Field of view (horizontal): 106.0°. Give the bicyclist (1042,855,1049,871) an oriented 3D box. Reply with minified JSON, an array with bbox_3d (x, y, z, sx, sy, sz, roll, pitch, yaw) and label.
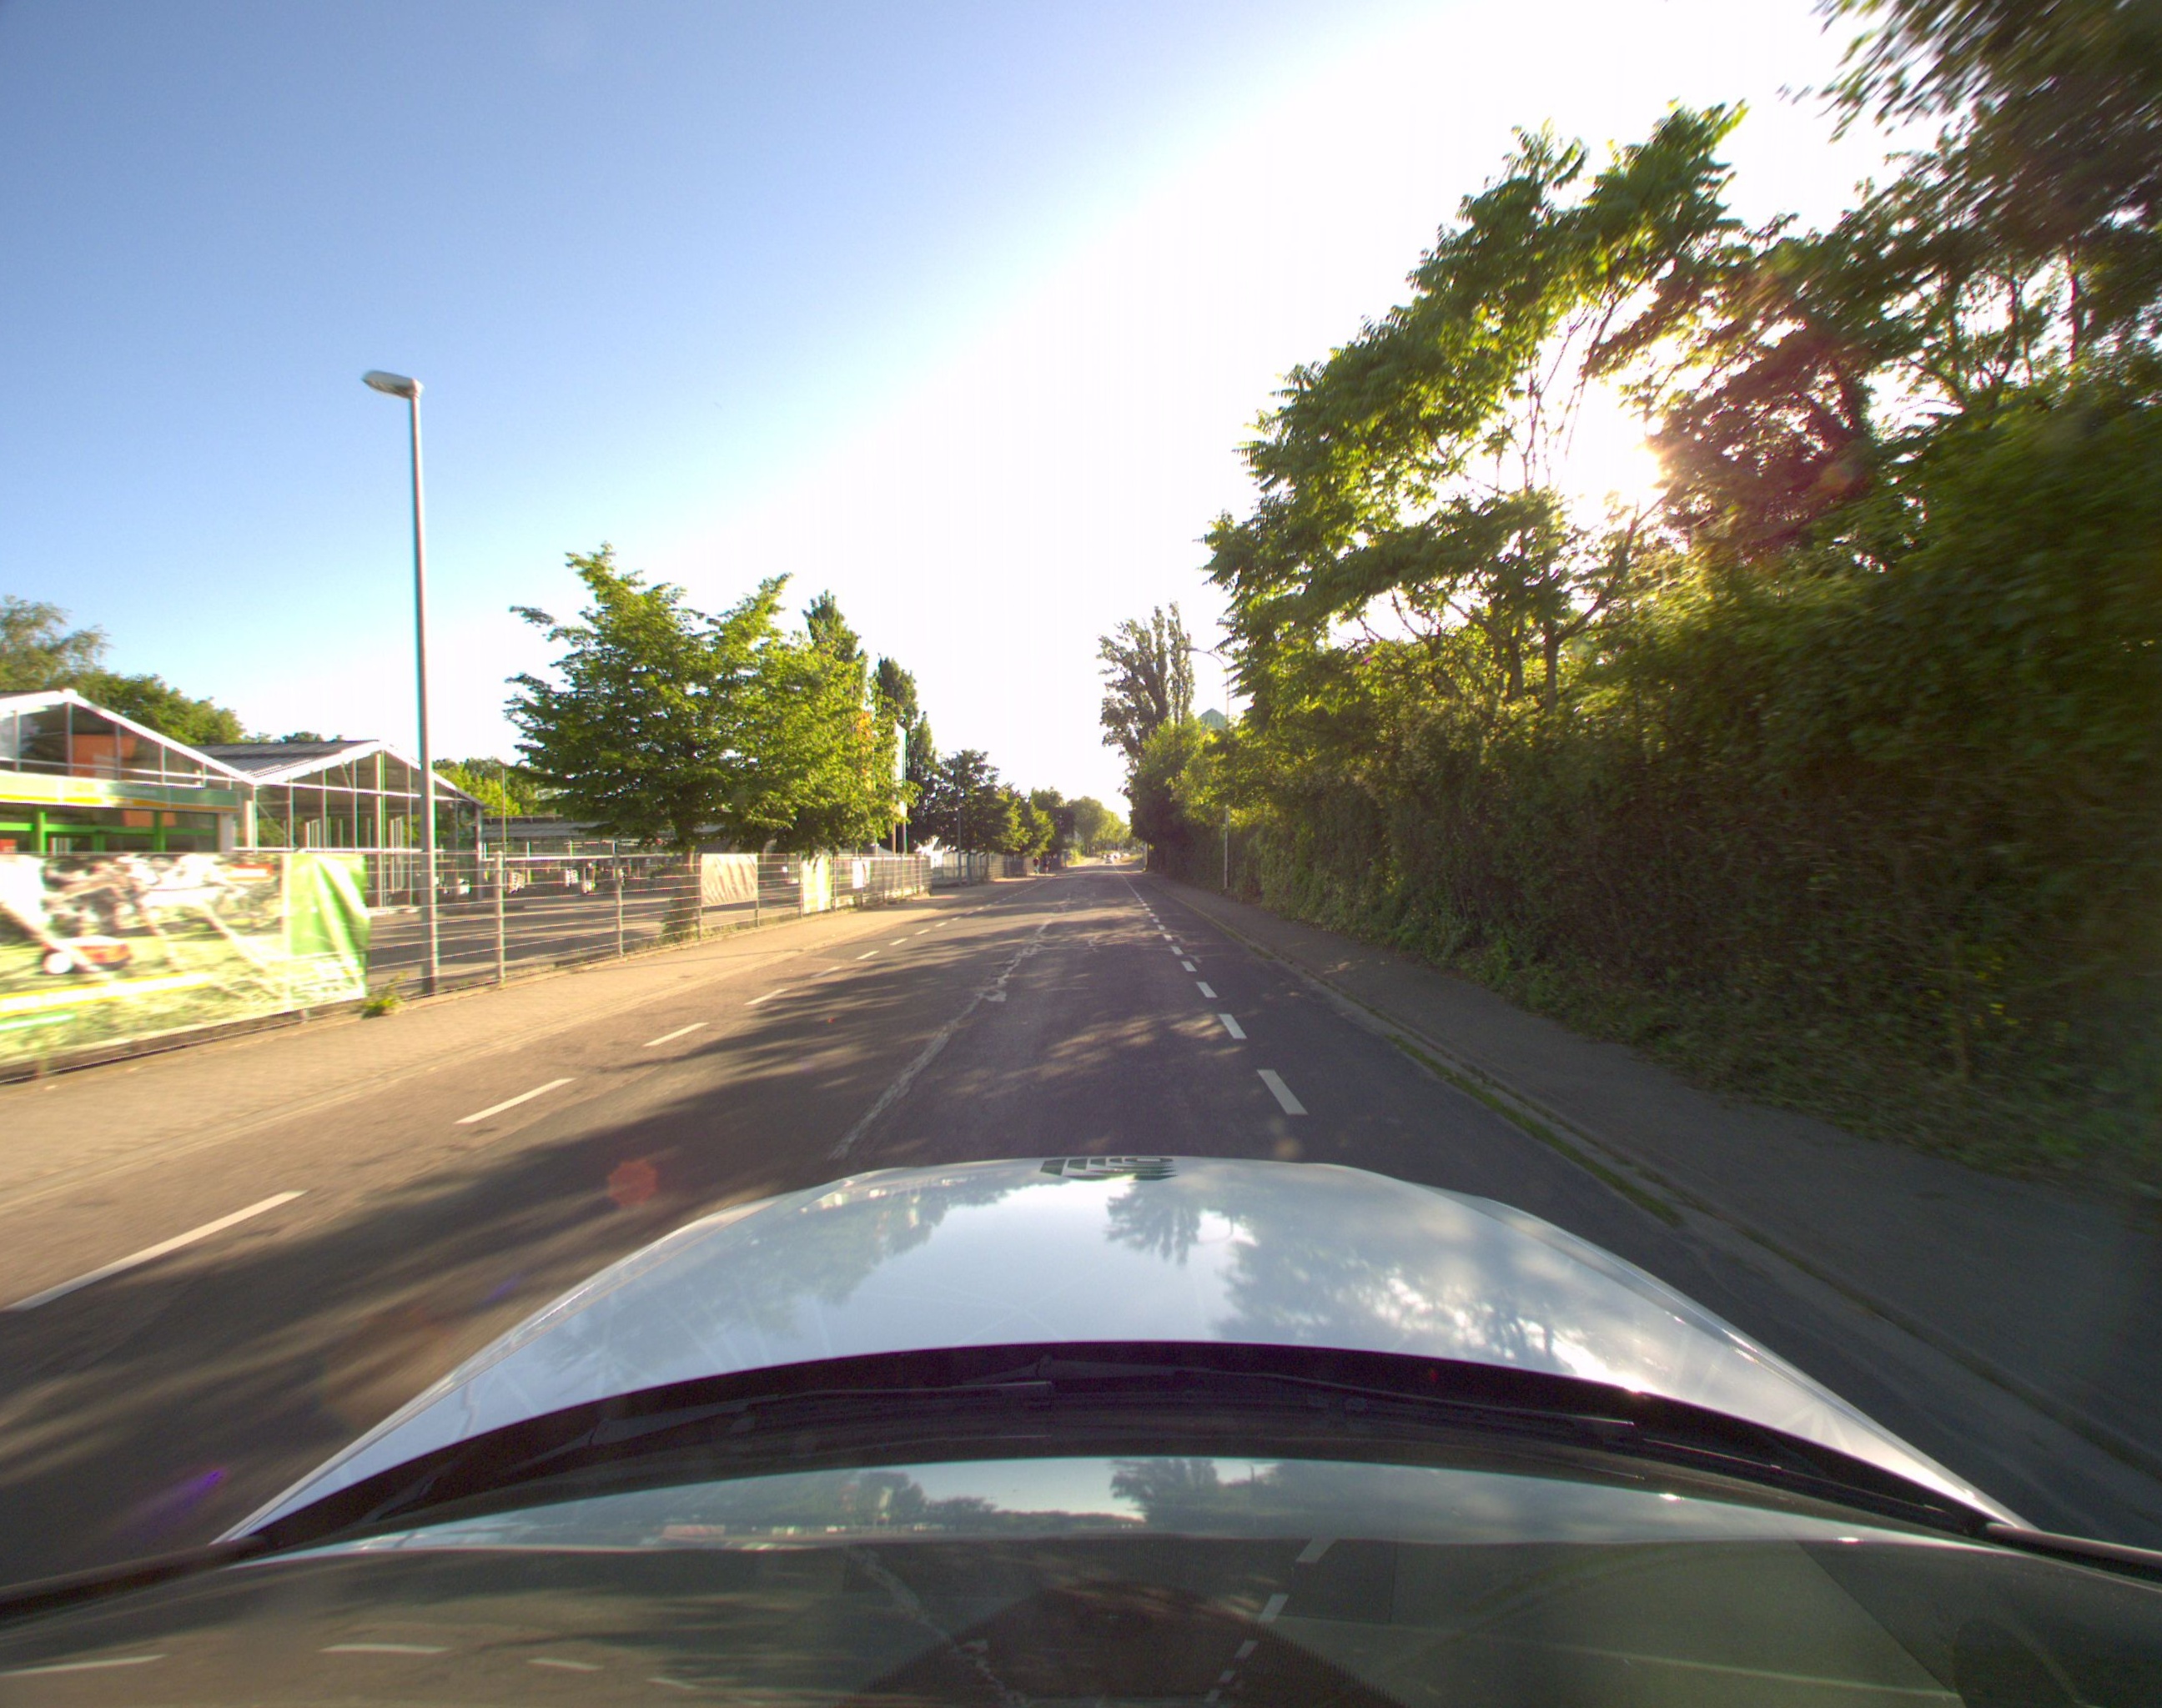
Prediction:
[{"bbox_3d":[-3.394,0.841,78.072,0.687,1.532,0.722,0,-1,1],"label":"bicyclist"}]

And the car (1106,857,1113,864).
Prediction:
[{"bbox_3d":[7.160,1.662,204.613,1.935,1.651,4.311,0,0,2],"label":"car"}]

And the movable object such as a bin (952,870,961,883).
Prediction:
[{"bbox_3d":[-10.823,1.920,70.732,0.461,1.076,1.570,-1,-1,2],"label":"movable object such as a bin"}]

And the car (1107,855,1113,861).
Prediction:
[{"bbox_3d":[8.921,1.235,248.673,1.935,1.651,4.311,0,0,2],"label":"car"}]

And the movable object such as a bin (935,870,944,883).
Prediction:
[{"bbox_3d":[-12.327,1.973,70.986,0.461,1.076,1.570,-1,-1,2],"label":"movable object such as a bin"}]

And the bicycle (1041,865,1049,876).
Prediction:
[{"bbox_3d":[-3.419,1.601,78.104,0.686,1.034,1.351,0,0,2],"label":"bicycle"}]

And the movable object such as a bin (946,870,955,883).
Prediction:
[{"bbox_3d":[-11.330,1.938,70.841,0.461,1.076,1.570,-1,-1,2],"label":"movable object such as a bin"}]

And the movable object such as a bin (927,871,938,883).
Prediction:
[{"bbox_3d":[-12.912,1.991,70.928,0.616,1.076,1.570,-1,-1,2],"label":"movable object such as a bin"}]

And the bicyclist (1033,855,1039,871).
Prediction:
[{"bbox_3d":[-4.315,0.900,78.225,0.558,1.534,0.689,0,-1,2],"label":"bicyclist"}]

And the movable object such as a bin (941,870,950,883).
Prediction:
[{"bbox_3d":[-11.816,1.957,70.956,0.461,1.076,1.570,-1,-1,2],"label":"movable object such as a bin"}]

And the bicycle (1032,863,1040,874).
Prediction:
[{"bbox_3d":[-4.321,1.423,78.297,0.560,1.034,1.351,0,0,2],"label":"bicycle"}]

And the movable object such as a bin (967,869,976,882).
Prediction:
[{"bbox_3d":[-9.512,1.882,70.845,0.461,1.076,1.570,-1,-1,2],"label":"movable object such as a bin"}]

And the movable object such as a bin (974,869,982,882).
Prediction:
[{"bbox_3d":[-8.968,1.867,70.898,0.461,1.076,1.570,-1,-1,2],"label":"movable object such as a bin"}]

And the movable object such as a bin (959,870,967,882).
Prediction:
[{"bbox_3d":[-10.250,1.903,70.783,0.461,1.076,1.570,-1,-1,2],"label":"movable object such as a bin"}]
